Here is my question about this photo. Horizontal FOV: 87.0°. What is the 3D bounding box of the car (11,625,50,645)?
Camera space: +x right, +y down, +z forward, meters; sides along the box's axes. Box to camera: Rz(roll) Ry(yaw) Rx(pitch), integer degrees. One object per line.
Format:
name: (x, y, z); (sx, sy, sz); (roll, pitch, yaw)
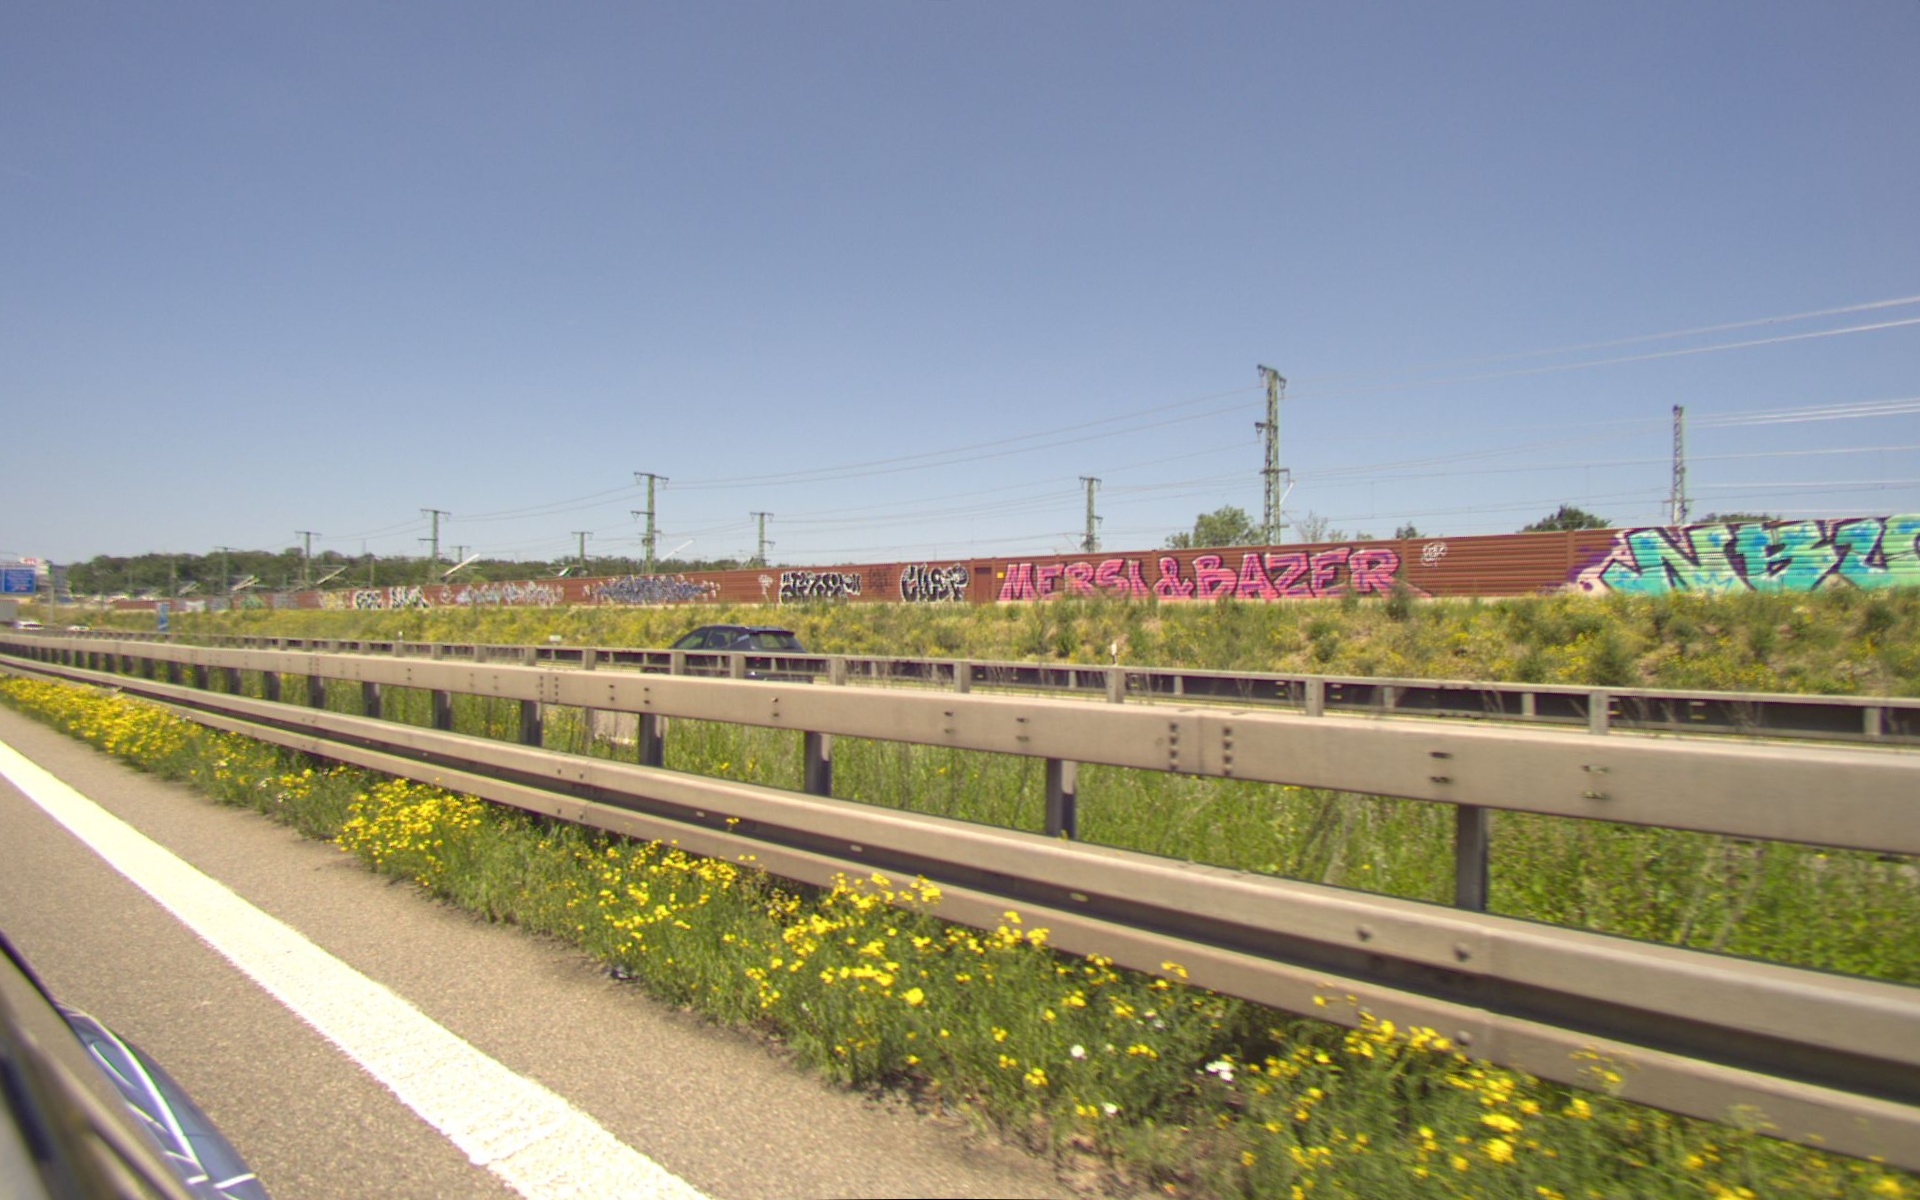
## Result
car: (-77.226, 2.887, 84.056); (4.807, 1.556, 1.893); (-1, -1, 42)

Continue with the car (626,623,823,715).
car: (-4.682, 1.261, 19.824); (3.998, 1.586, 1.785); (-1, -1, 42)

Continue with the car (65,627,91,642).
car: (-98.118, 3.819, 112.518); (3.808, 1.556, 1.702); (-1, -1, 42)

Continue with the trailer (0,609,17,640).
trailer: (-128.714, 3.249, 134.972); (13.521, 4.105, 2.702); (-1, -2, 41)
